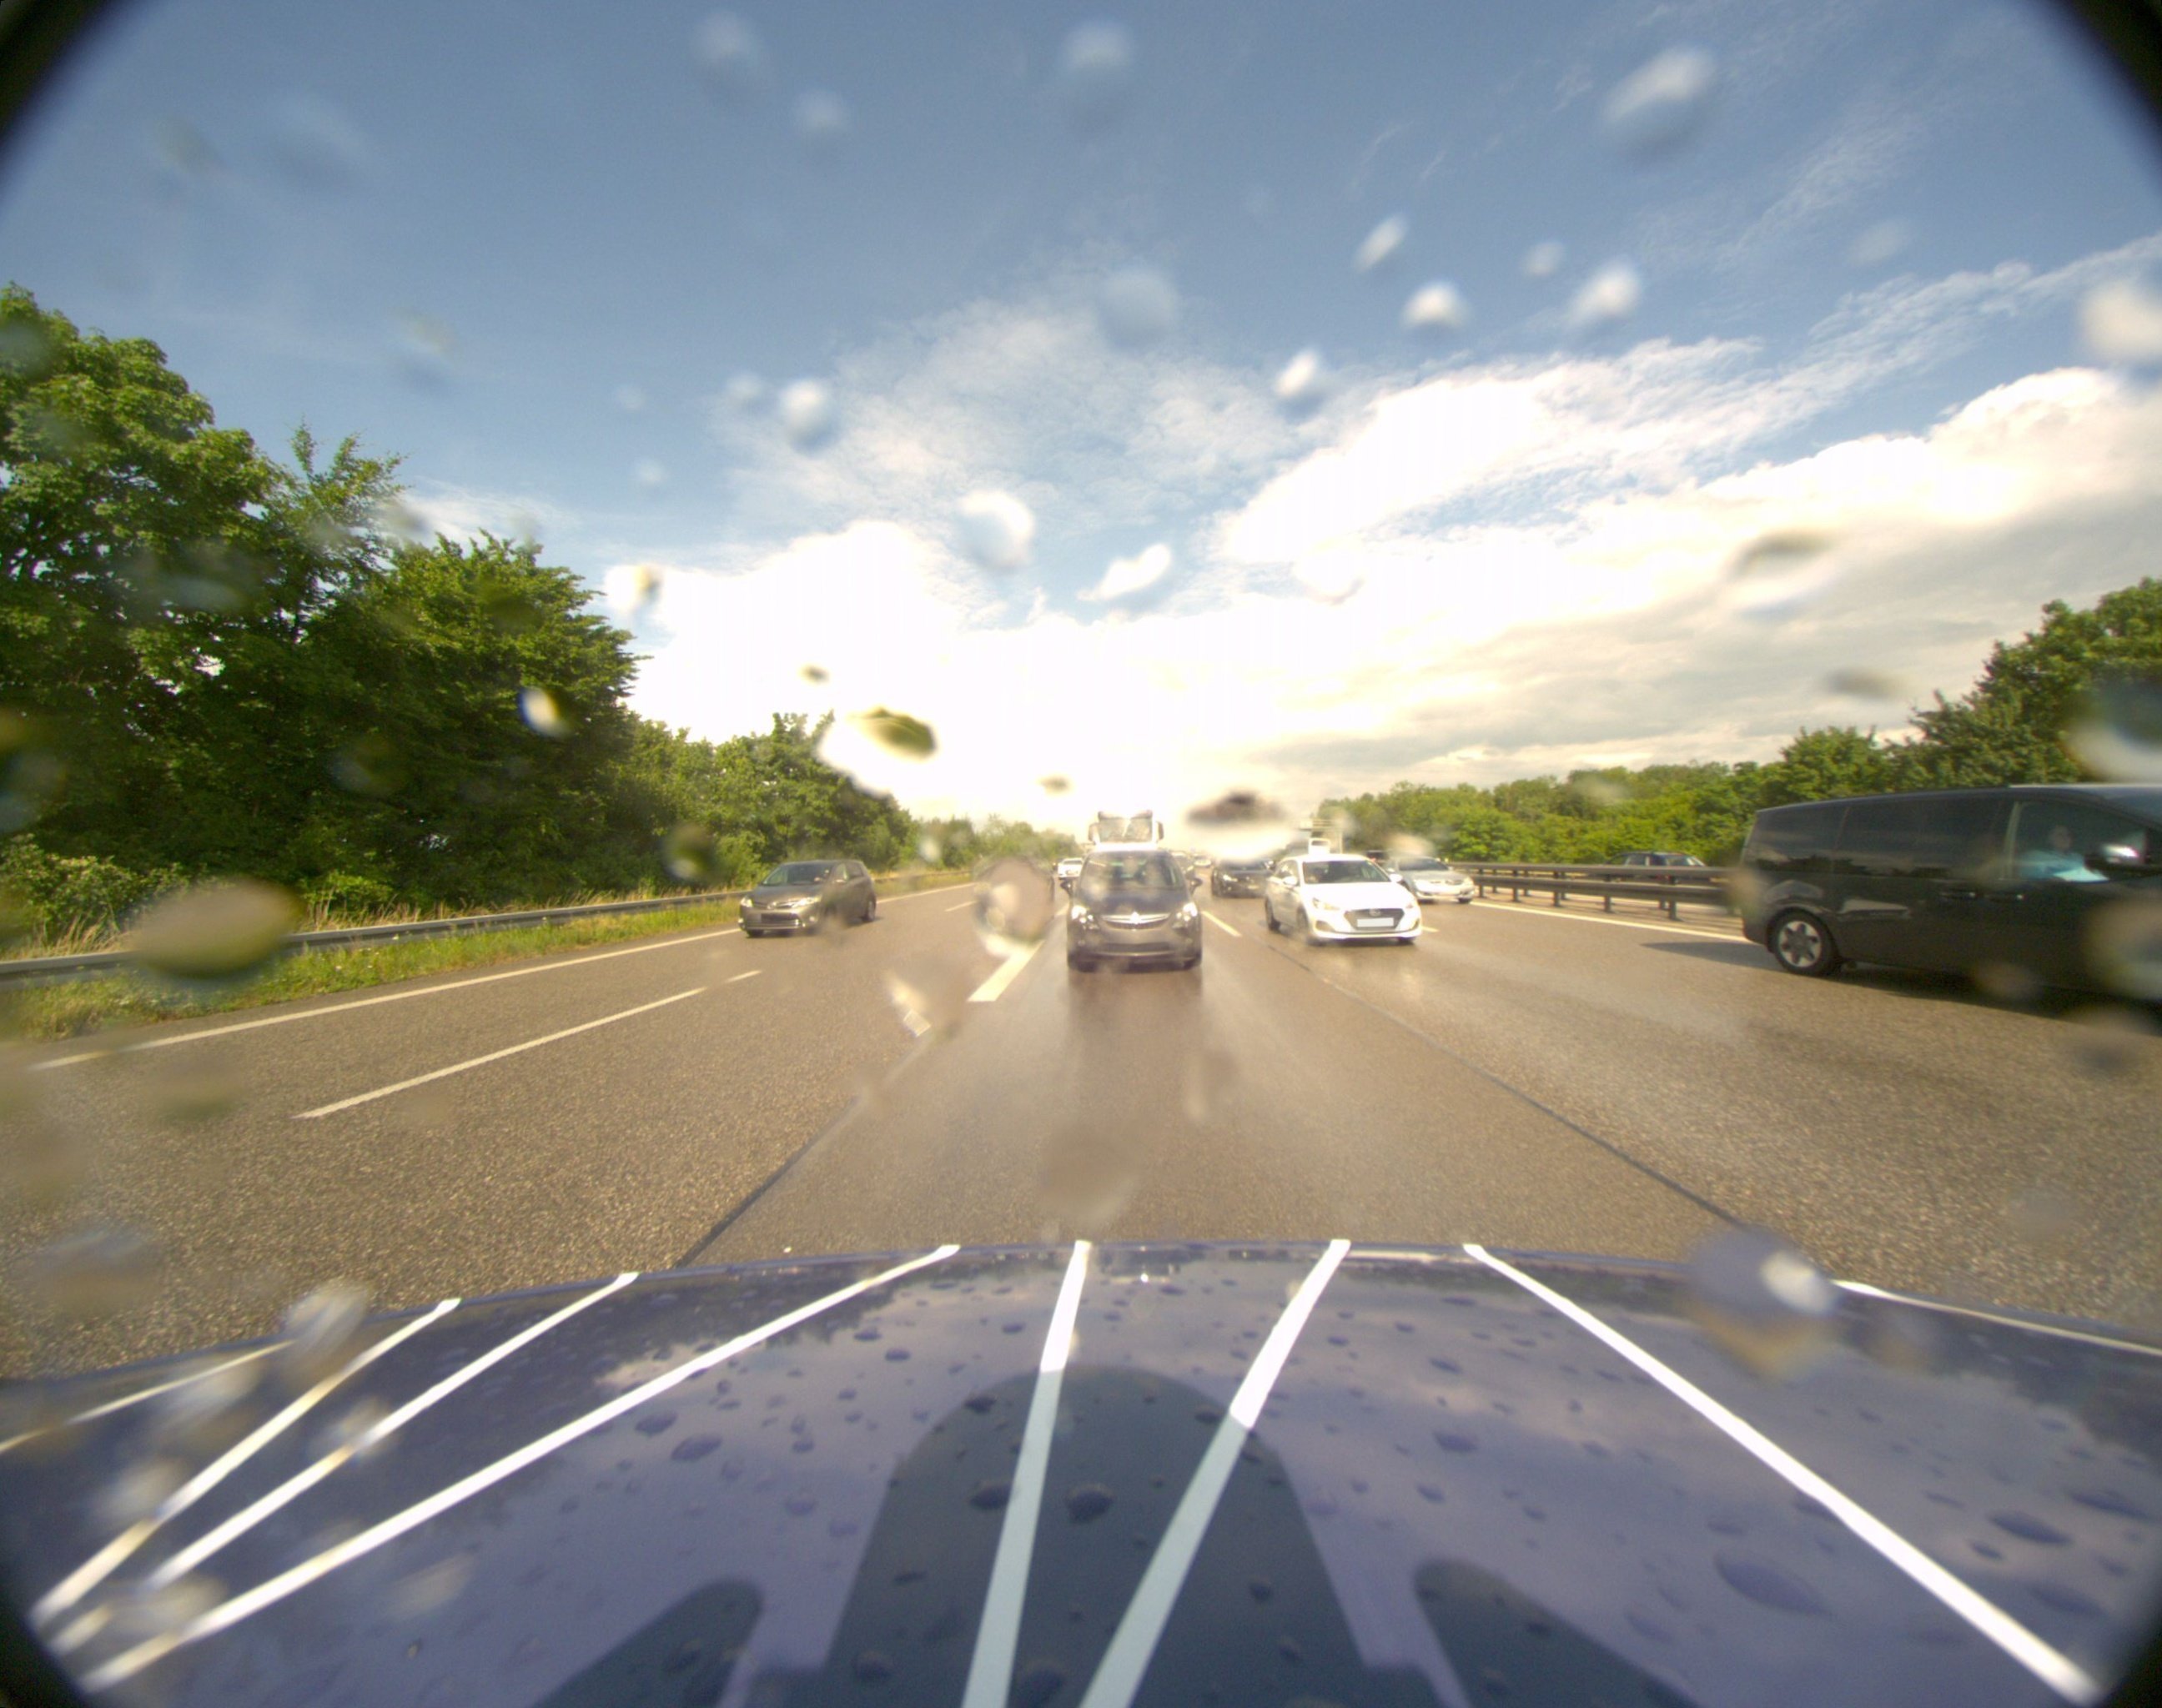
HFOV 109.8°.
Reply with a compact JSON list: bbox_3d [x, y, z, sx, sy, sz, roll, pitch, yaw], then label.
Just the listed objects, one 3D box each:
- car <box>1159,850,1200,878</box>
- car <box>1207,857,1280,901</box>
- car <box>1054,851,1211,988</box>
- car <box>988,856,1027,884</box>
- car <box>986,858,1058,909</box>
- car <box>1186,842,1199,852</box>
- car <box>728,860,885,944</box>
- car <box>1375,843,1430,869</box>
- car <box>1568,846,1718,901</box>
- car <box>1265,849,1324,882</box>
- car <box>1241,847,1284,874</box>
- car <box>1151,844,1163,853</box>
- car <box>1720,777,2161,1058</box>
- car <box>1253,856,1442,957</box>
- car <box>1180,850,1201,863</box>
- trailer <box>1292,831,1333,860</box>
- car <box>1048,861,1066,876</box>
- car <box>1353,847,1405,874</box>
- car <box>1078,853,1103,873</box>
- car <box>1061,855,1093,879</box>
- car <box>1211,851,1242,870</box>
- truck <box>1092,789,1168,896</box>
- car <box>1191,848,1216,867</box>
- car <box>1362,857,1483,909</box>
[{"bbox_3d":[5.914,0.574,45.822,1.998,1.477,3.999,-3,1,2],"label":"car"},{"bbox_3d":[5.567,0.823,26.541,1.728,1.330,4.287,-1,0,2],"label":"car"},{"bbox_3d":[0.708,0.806,11.545,1.883,1.638,4.397,-1,0,2],"label":"car"},{"bbox_3d":[-4.487,0.954,46.645,1.853,1.559,4.000,-1,1,2],"label":"car"},{"bbox_3d":[-1.830,0.905,24.927,1.853,1.455,4.255,-1,1,2],"label":"car"},{"bbox_3d":[21.209,-1.297,144.188,1.998,1.768,4.461,-2,0,2],"label":"car"},{"bbox_3d":[-6.064,0.976,17.375,1.792,1.603,4.385,-1,0,3],"label":"car"},{"bbox_3d":[23.048,0.119,54.630,1.998,1.723,4.945,-1,0,2],"label":"car"},{"bbox_3d":[18.186,0.574,24.858,1.998,1.619,4.000,0,1,2],"label":"car"},{"bbox_3d":[10.068,0.495,36.103,1.770,1.417,4.139,-2,1,3],"label":"car"},{"bbox_3d":[11.372,0.393,47.928,1.874,1.597,4.229,-2,0,3],"label":"car"},{"bbox_3d":[15.532,-1.188,155.140,1.998,1.687,3.999,-3,1,2],"label":"car"},{"bbox_3d":[8.715,0.425,6.609,1.998,2.002,5.269,-1,0,2],"label":"car"},{"bbox_3d":[4.490,0.788,13.608,1.886,1.446,4.548,-1,0,2],"label":"car"},{"bbox_3d":[13.029,0.278,90.486,1.998,1.471,3.999,-3,1,2],"label":"car"},{"bbox_3d":[28.956,-0.994,95.343,2.736,3.362,9.563,-1,0,3],"label":"trailer"},{"bbox_3d":[-2.873,1.751,91.480,1.825,1.611,4.363,-2,0,1],"label":"car"},{"bbox_3d":[18.681,0.384,47.801,1.885,1.619,3.830,0,1,2],"label":"car"},{"bbox_3d":[0.833,0.739,63.207,1.998,1.572,4.653,-1,0,2],"label":"car"},{"bbox_3d":[-0.224,0.835,51.260,1.831,1.417,4.511,-2,1,3],"label":"car"},{"bbox_3d":[11.427,0.466,59.815,1.771,1.371,3.999,-1,1,2],"label":"car"},{"bbox_3d":[2.140,-0.484,33.421,2.817,4.083,7.446,-2,1,4],"label":"truck"},{"bbox_3d":[12.660,0.309,78.771,1.998,1.739,3.999,-3,1,2],"label":"car"},{"bbox_3d":[9.575,0.758,21.692,1.728,1.270,4.064,-1,0,2],"label":"car"}]
